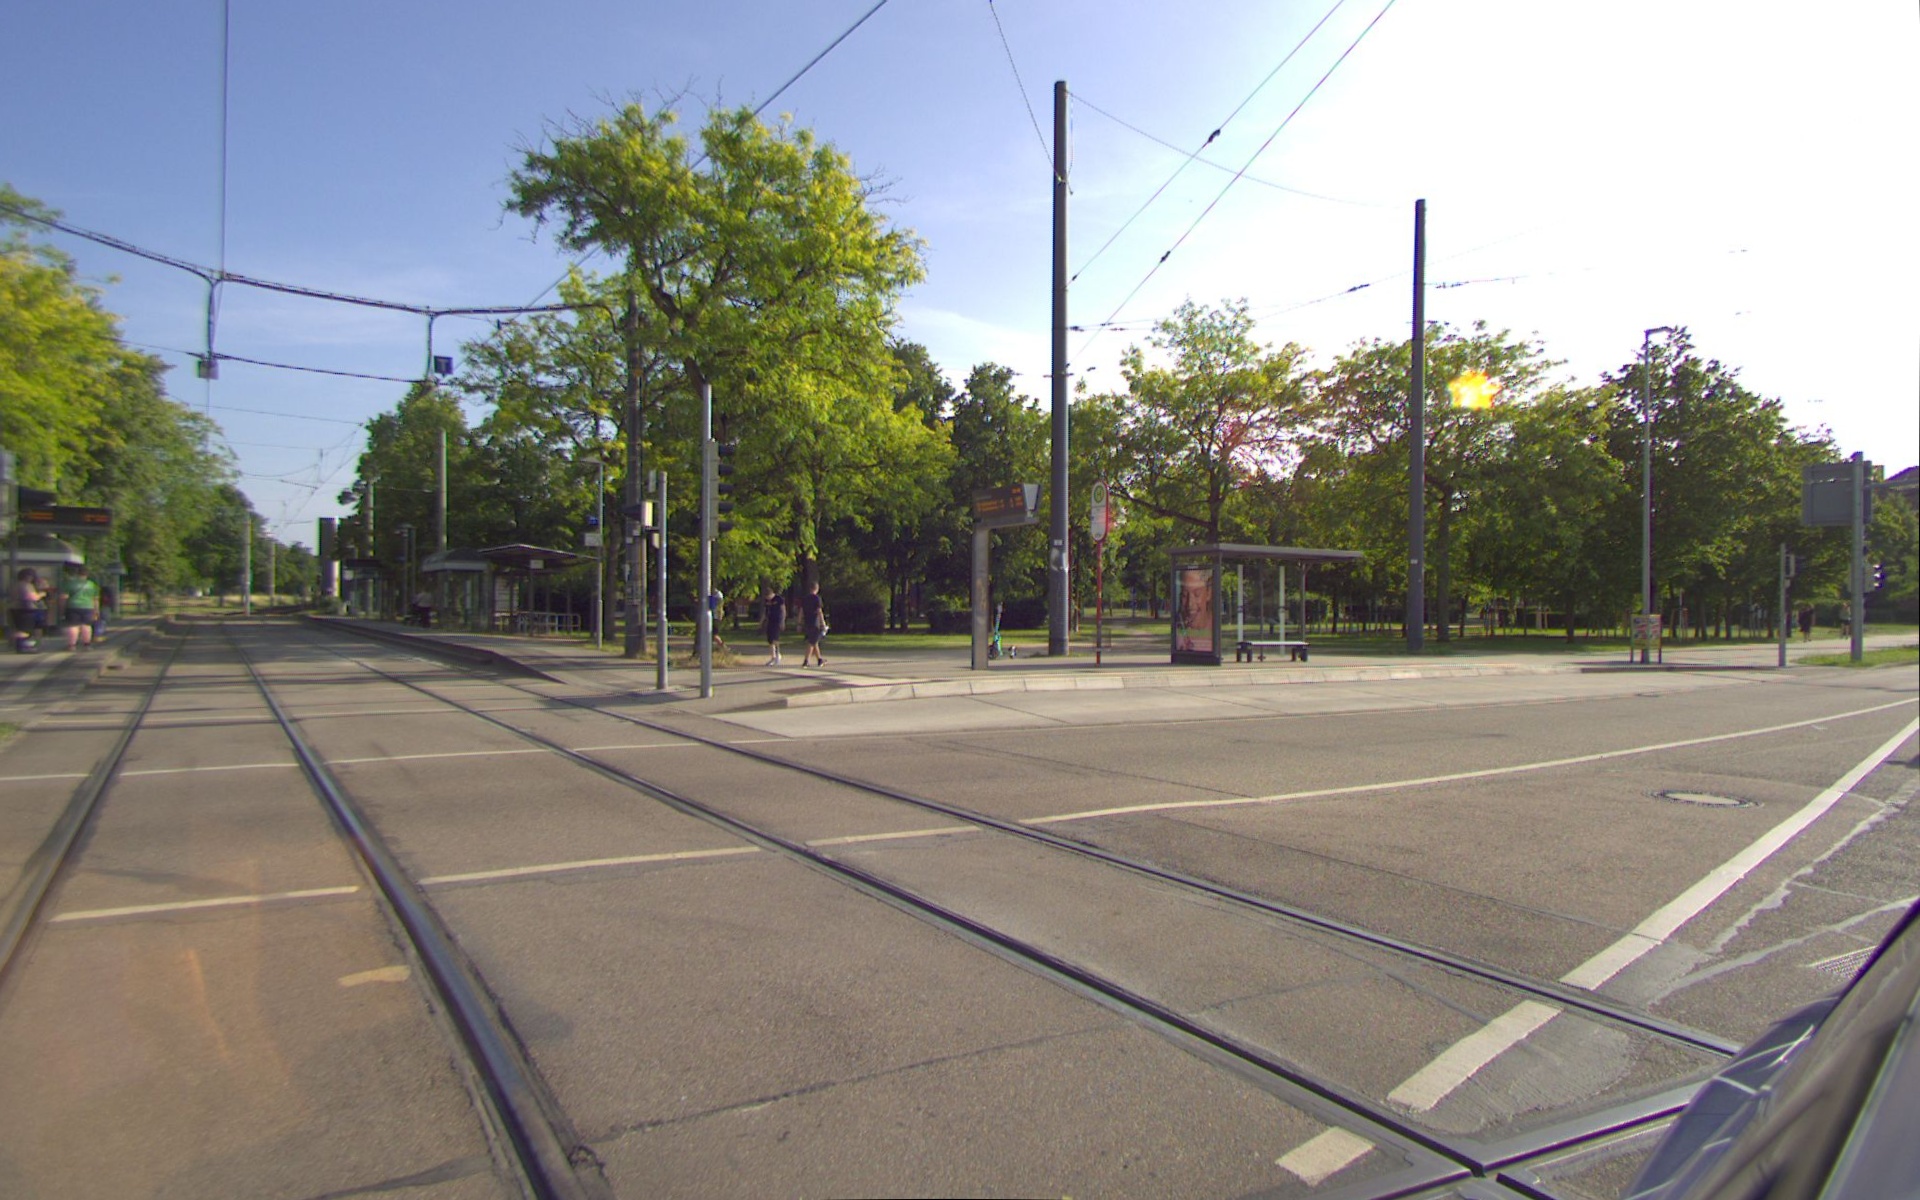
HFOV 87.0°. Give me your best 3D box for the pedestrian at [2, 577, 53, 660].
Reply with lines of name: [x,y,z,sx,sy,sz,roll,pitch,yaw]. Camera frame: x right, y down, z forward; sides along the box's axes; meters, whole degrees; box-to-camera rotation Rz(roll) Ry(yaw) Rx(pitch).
pedestrian: [-19.222,0.375,20.866,0.678,1.686,0.642,1,-1,-36]

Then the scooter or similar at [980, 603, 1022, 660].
scooter or similar: [0.929,0.687,22.649,0.350,1.248,1.119,0,-1,39]

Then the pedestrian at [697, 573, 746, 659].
pedestrian: [-5.452,0.376,23.129,0.666,1.922,0.872,-2,-2,26]

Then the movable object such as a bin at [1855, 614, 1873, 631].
movable object such as a bin: [47.569,1.188,53.263,0.515,0.915,0.503,0,0,2]

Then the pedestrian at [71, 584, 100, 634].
pedestrian: [-32.080,0.339,37.118,0.598,1.824,0.674,0,-2,-22]

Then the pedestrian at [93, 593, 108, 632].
pedestrian: [-37.725,0.543,44.422,0.476,1.686,0.414,1,-1,-38]

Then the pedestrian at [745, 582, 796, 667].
pedestrian: [-4.129,0.546,22.019,0.668,1.800,0.869,-3,-3,34]

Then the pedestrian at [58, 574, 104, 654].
pedestrian: [-18.925,0.293,21.796,0.678,1.686,0.642,1,-1,-36]

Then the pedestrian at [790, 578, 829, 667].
pedestrian: [-3.101,0.461,20.850,0.577,1.800,0.579,1,-3,-38]

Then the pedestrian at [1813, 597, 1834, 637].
pedestrian: [37.253,0.719,43.680,0.650,1.722,0.558,1,-1,-37]

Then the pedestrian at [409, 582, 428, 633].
pedestrian: [-20.551,0.285,38.413,0.594,1.892,0.462,0,-2,-33]

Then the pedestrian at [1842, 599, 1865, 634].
pedestrian: [42.339,0.782,47.942,0.649,1.672,0.622,1,-1,-28]
